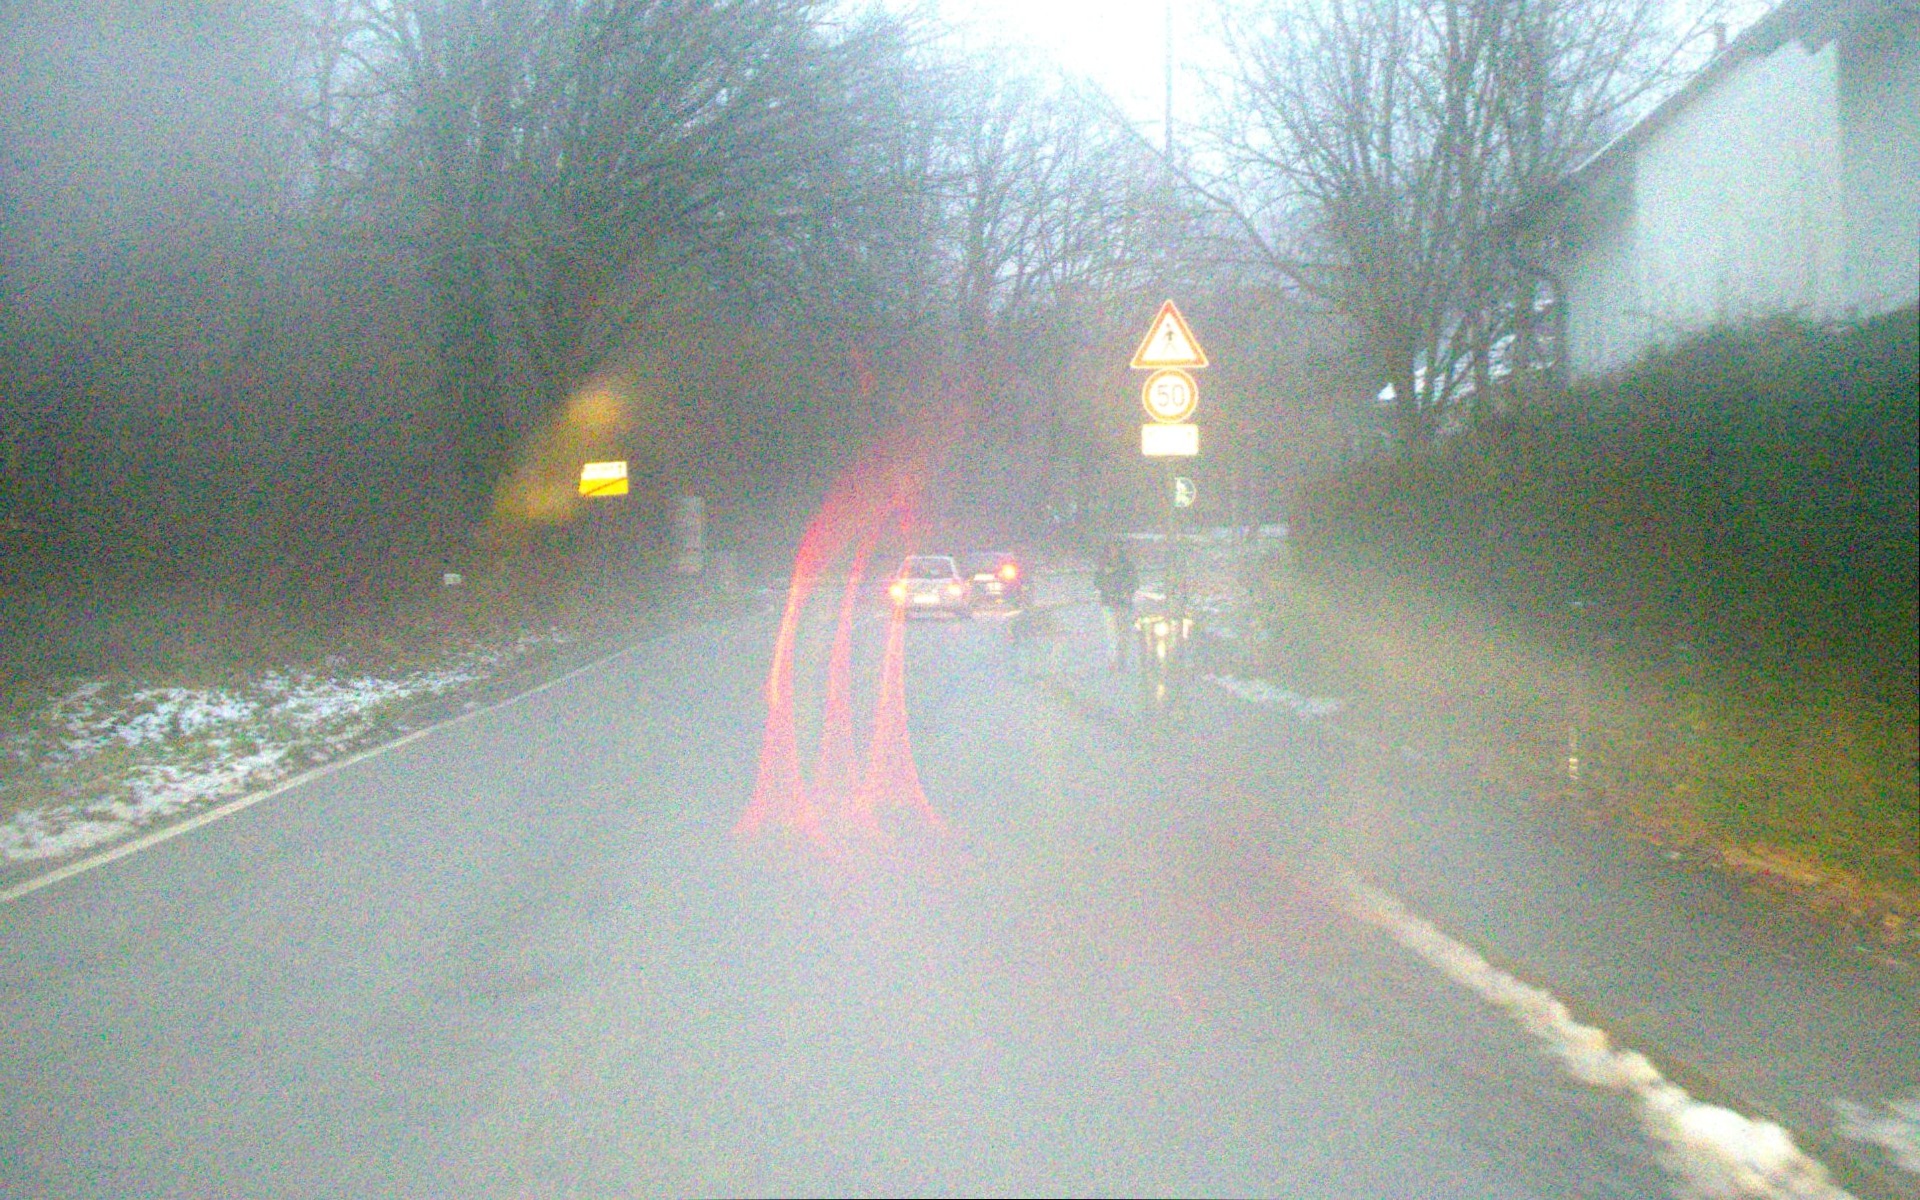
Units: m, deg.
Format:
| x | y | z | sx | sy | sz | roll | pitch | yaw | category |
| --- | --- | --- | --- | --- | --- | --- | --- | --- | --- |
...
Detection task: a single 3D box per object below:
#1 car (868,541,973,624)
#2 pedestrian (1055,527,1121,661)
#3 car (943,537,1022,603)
| x | y | z | sx | sy | sz | roll | pitch | yaw | category |
| --- | --- | --- | --- | --- | --- | --- | --- | --- | --- |
| -0.845 | -0.420 | 76.843 | 1.933 | 1.775 | 3.999 | -1 | 1 | 5 | car |
| 1.602 | -0.082 | 43.044 | 0.743 | 1.649 | 0.970 | -1 | 1 | -2 | pedestrian |
| 0.561 | -0.798 | 89.586 | 1.933 | 1.670 | 4.000 | -1 | 1 | -1 | car |
